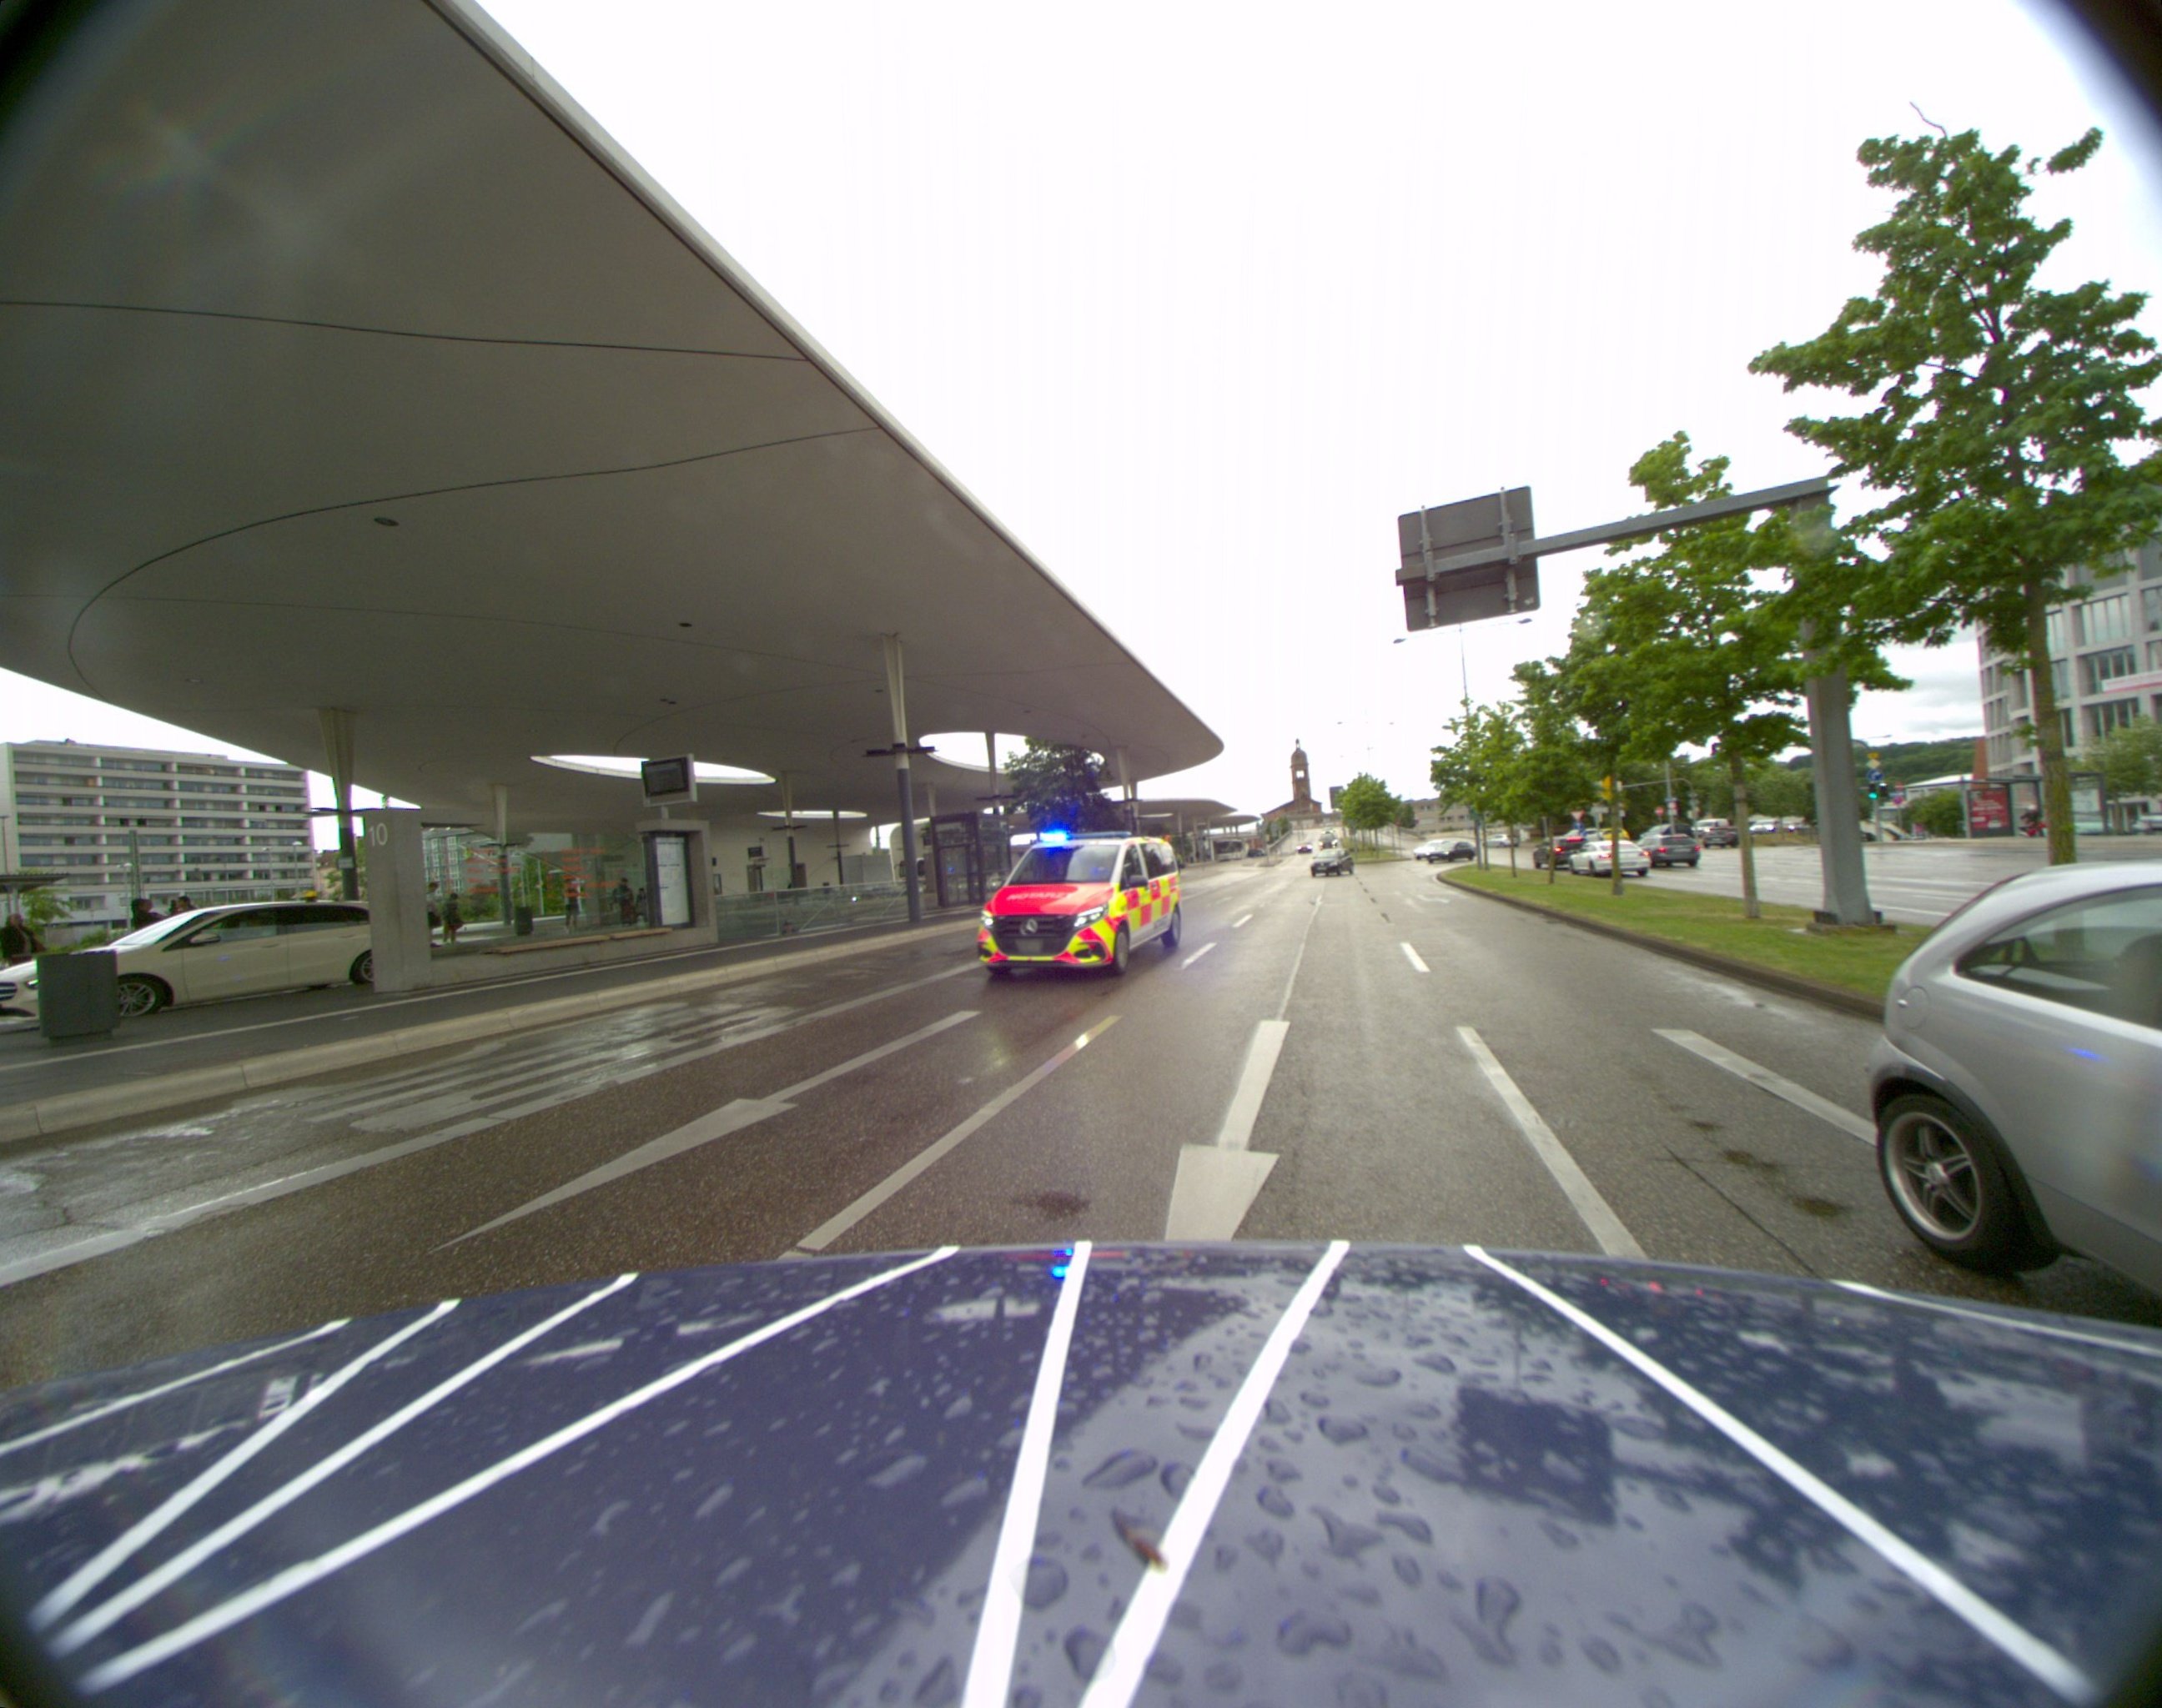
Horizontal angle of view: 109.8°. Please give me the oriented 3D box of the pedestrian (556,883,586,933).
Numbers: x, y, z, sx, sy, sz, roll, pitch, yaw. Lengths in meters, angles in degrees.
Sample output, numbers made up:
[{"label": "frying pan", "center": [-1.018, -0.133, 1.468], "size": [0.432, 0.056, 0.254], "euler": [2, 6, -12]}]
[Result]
[{"label": "pedestrian", "center": [-15.939, 1.672, 23.758], "size": [0.478, 1.505, 0.536], "euler": [-3, 0, 23]}]

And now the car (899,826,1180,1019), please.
[{"label": "car", "center": [-0.194, 0.687, 10.542], "size": [1.996, 2.002, 5.068], "euler": [-2, 1, 20]}]

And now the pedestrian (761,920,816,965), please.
[{"label": "pedestrian", "center": [-7.711, 2.313, 20.068], "size": [0.881, 1.048, 0.959], "euler": [-2, 1, 22]}]

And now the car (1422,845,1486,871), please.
[{"label": "car", "center": [27.051, 0.271, 55.110], "size": [4.162, 1.692, 1.873], "euler": [-3, 1, -25]}]

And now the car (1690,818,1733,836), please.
[{"label": "car", "center": [60.118, -2.579, 72.412], "size": [4.163, 1.624, 1.872], "euler": [-3, 1, -31]}]

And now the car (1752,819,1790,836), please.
[{"label": "car", "center": [72.787, -2.798, 80.143], "size": [4.163, 1.624, 1.872], "euler": [-3, 1, -31]}]

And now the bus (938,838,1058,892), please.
[{"label": "bus", "center": [-5.013, 0.515, 49.771], "size": [2.872, 3.064, 11.936], "euler": [-2, 1, 19]}]

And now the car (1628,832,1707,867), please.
[{"label": "car", "center": [26.963, -0.220, 35.091], "size": [1.696, 1.457, 4.458], "euler": [-2, 1, 22]}]

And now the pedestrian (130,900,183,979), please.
[{"label": "pedestrian", "center": [-18.395, 1.687, 15.124], "size": [0.534, 1.505, 0.480], "euler": [-3, 0, 24]}]

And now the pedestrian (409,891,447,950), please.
[{"label": "pedestrian", "center": [-17.182, 1.753, 20.010], "size": [0.478, 1.505, 0.536], "euler": [-3, 0, 23]}]

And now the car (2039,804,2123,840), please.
[{"label": "car", "center": [52.396, -1.692, 39.800], "size": [4.162, 1.692, 1.873], "euler": [-3, 1, -26]}]

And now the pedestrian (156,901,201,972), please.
[{"label": "pedestrian", "center": [-20.307, 1.842, 17.101], "size": [0.480, 1.505, 0.534], "euler": [-3, 1, -36]}]

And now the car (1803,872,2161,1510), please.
[{"label": "car", "center": [3.250, 0.839, 1.119], "size": [1.697, 1.457, 3.724], "euler": [-2, 1, 18]}]

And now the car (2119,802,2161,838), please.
[{"label": "car", "center": [53.412, -1.712, 37.504], "size": [4.162, 1.692, 1.873], "euler": [-3, 1, -26]}]

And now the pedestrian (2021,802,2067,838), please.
[{"label": "pedestrian", "center": [41.292, -1.438, 32.591], "size": [0.982, 1.481, 0.735], "euler": [-2, 1, 29]}]

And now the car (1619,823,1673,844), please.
[{"label": "car", "center": [47.989, -1.763, 64.546], "size": [4.162, 1.624, 1.873], "euler": [-3, 1, -25]}]

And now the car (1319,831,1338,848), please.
[{"label": "car", "center": [32.314, -1.896, 99.292], "size": [1.996, 2.002, 4.003], "euler": [-2, 1, 14]}]

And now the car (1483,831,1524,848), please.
[{"label": "car", "center": [44.567, -1.467, 80.194], "size": [1.876, 1.624, 4.157], "euler": [-3, 0, -1]}]

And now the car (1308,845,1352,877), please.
[{"label": "car", "center": [14.418, 0.367, 43.888], "size": [1.872, 1.692, 4.164], "euler": [-2, 1, 25]}]

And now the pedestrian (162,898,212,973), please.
[{"label": "pedestrian", "center": [-18.722, 1.695, 15.914], "size": [0.534, 1.505, 0.480], "euler": [-3, 0, 24]}]

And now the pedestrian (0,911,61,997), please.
[{"label": "pedestrian", "center": [-20.752, 1.944, 14.927], "size": [0.640, 1.586, 0.742], "euler": [-2, 1, 33]}]

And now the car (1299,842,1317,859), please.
[{"label": "car", "center": [29.064, -0.460, 97.264], "size": [1.996, 2.002, 4.004], "euler": [-2, 1, 17]}]

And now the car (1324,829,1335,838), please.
[{"label": "car", "center": [45.714, -3.822, 139.932], "size": [1.547, 1.551, 3.653], "euler": [-2, 1, 14]}]

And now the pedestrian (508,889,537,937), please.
[{"label": "pedestrian", "center": [-18.214, 1.920, 24.769], "size": [0.478, 1.505, 0.526], "euler": [-3, 0, 23]}]

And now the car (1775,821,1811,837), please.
[{"label": "car", "center": [80.060, -2.860, 85.392], "size": [4.163, 1.624, 1.872], "euler": [-3, 1, -31]}]

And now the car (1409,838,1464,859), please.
[{"label": "car", "center": [29.381, -0.432, 62.741], "size": [4.053, 1.550, 1.809], "euler": [-2, 1, -22]}]

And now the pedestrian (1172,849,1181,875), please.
[{"label": "pedestrian", "center": [6.442, 0.527, 51.381], "size": [0.445, 1.753, 0.538], "euler": [-3, 0, 12]}]

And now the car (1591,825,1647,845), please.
[{"label": "car", "center": [51.328, -1.797, 72.486], "size": [4.157, 1.624, 1.876], "euler": [-3, 0, -7]}]

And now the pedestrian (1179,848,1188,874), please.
[{"label": "pedestrian", "center": [6.924, 0.465, 51.295], "size": [0.445, 1.753, 0.537], "euler": [-3, 0, 11]}]

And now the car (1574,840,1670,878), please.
[{"label": "car", "center": [21.529, 0.164, 30.428], "size": [2.007, 1.345, 4.170], "euler": [-2, 1, 19]}]

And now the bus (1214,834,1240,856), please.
[{"label": "bus", "center": [22.254, -1.324, 115.778], "size": [3.579, 3.080, 10.762], "euler": [-3, 0, 10]}]

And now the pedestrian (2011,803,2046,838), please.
[{"label": "pedestrian", "center": [41.843, -1.468, 33.561], "size": [0.732, 1.481, 0.735], "euler": [-2, 1, 27]}]

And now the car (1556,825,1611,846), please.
[{"label": "car", "center": [43.180, -1.614, 65.260], "size": [4.306, 1.624, 1.873], "euler": [-3, 1, -24]}]

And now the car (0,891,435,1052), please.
[{"label": "car", "center": [-13.289, 1.575, 11.771], "size": [1.996, 1.671, 4.547], "euler": [-2, 1, 19]}]

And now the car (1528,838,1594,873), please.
[{"label": "car", "center": [23.896, 0.037, 37.963], "size": [2.007, 1.545, 4.170], "euler": [-2, 1, 21]}]
